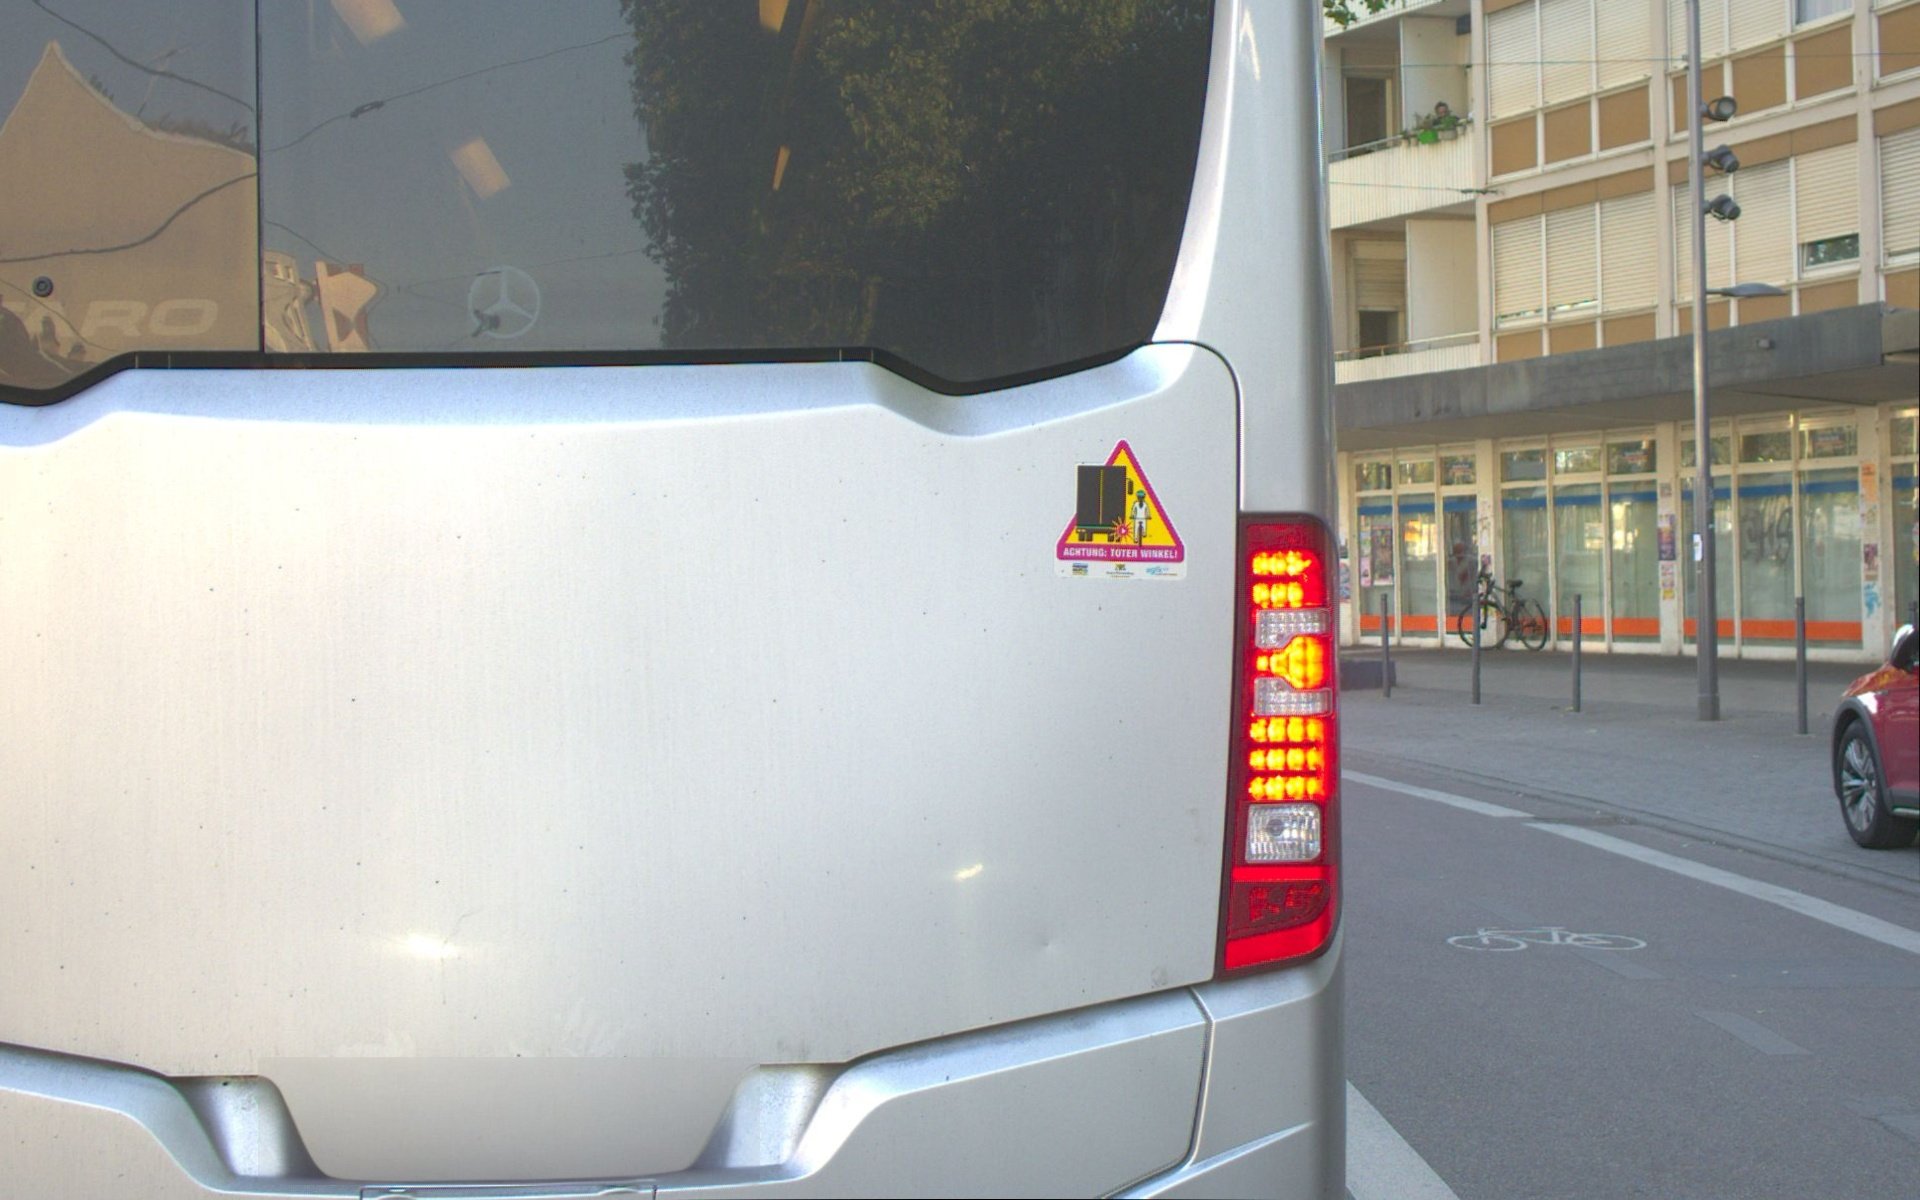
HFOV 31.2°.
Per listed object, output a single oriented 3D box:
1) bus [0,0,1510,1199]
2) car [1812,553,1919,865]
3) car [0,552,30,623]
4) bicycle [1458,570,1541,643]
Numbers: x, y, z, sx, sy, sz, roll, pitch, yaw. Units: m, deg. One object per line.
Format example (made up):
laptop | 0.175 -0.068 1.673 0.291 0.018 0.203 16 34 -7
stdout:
bus | -0.746 -0.142 9.795 2.630 3.017 9.998 0 1 -2
car | 5.521 0.507 15.878 1.769 1.477 4.304 -2 1 -4
car | -25.609 -0.338 87.845 1.994 1.785 3.998 1 0 -41
bicycle | 7.156 0.084 45.628 0.412 0.941 1.441 -1 1 -20
